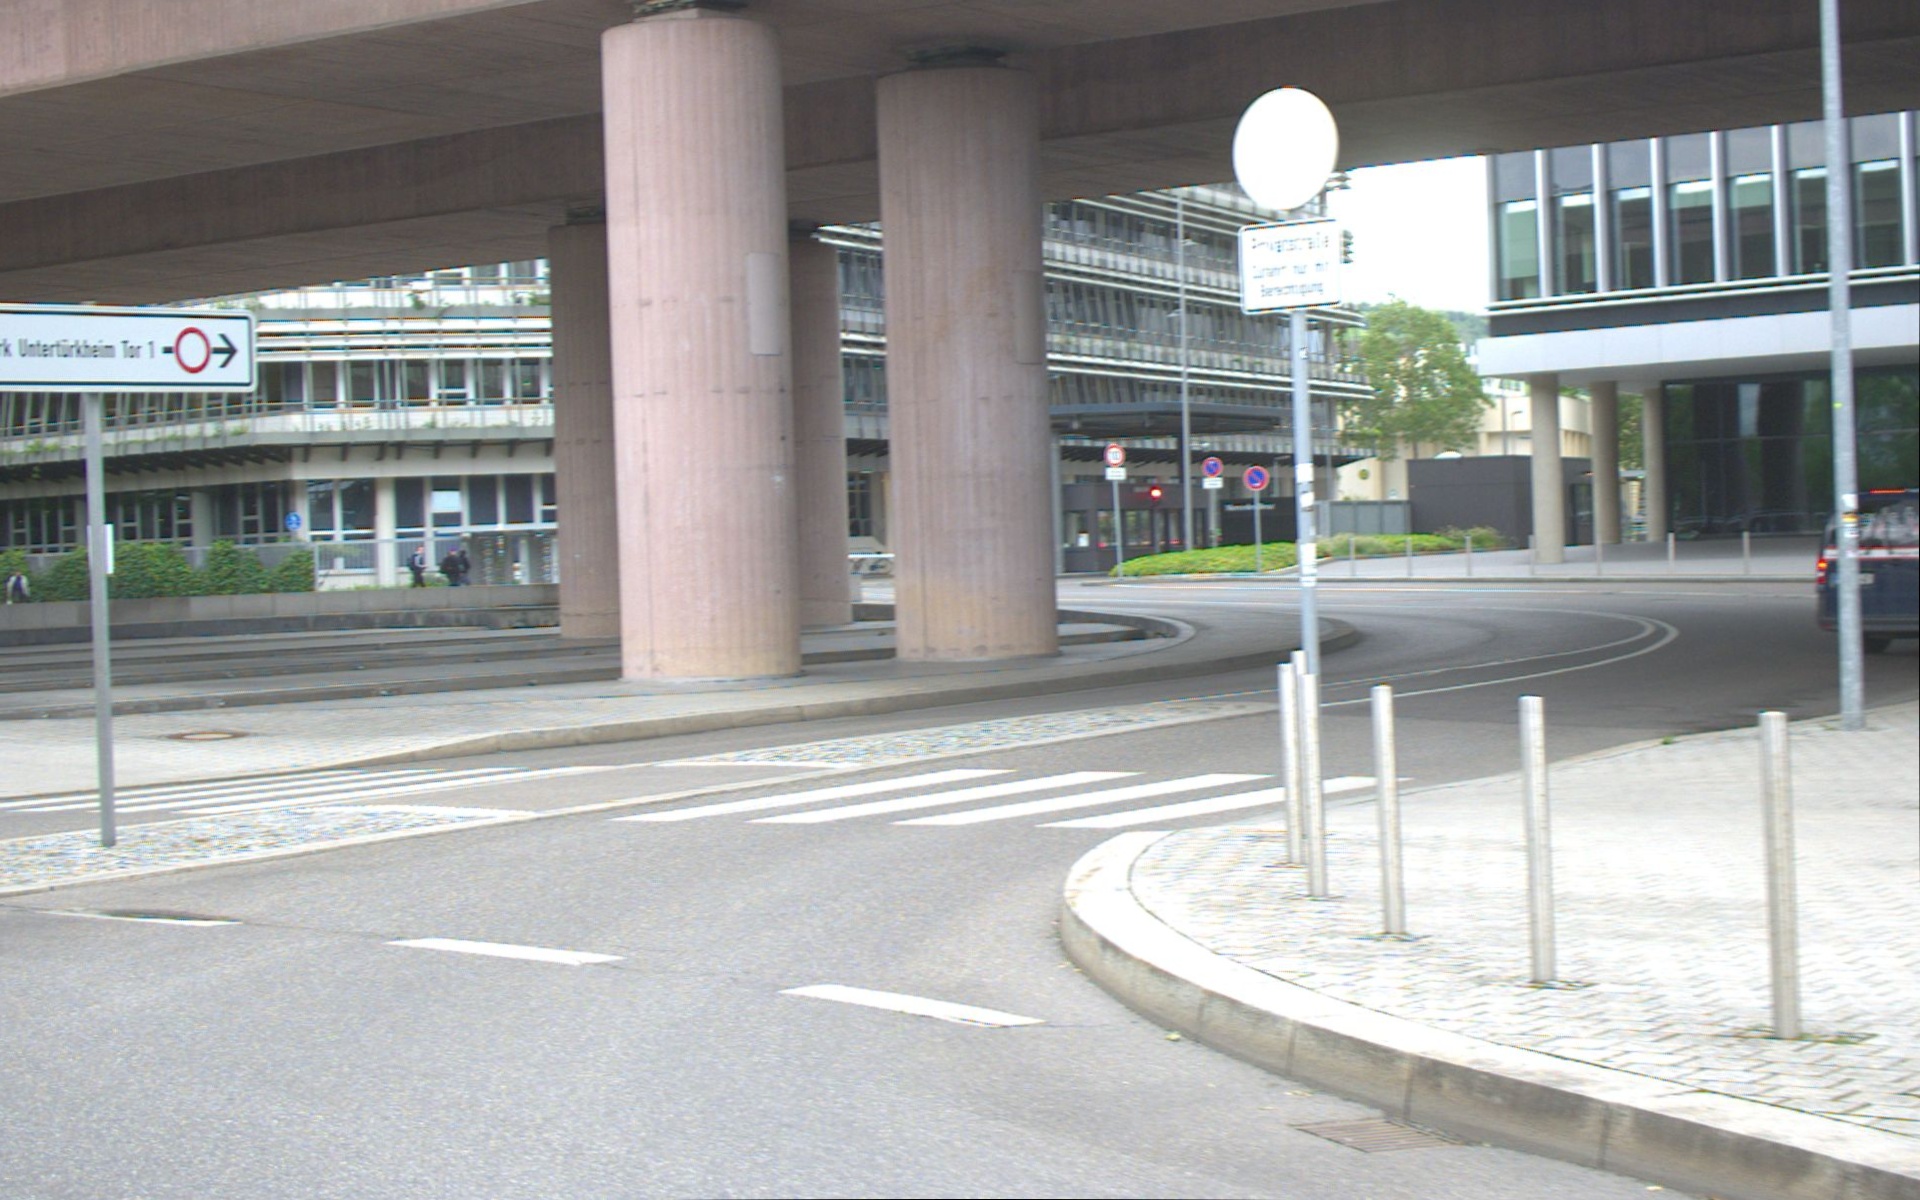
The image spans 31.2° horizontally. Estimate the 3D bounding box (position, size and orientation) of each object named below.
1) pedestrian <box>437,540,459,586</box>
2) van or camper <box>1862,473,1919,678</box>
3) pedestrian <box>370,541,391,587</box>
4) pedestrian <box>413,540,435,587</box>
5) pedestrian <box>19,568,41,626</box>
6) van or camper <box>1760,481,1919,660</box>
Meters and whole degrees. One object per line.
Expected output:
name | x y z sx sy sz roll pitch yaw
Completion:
pedestrian | -16.443 -1.192 110.392 0.495 1.476 0.544 -1 2 11
van or camper | 11.284 -0.366 35.049 2.359 1.992 4.495 -3 1 38
pedestrian | -18.954 -1.179 112.458 0.495 1.476 0.544 -1 2 11
pedestrian | -17.221 -1.177 110.507 0.495 1.476 0.544 -1 2 11
pedestrian | -32.973 -0.104 121.898 0.527 2.007 0.573 -2 0 -40
van or camper | 11.361 -0.413 39.425 2.152 1.886 4.890 0 3 42
